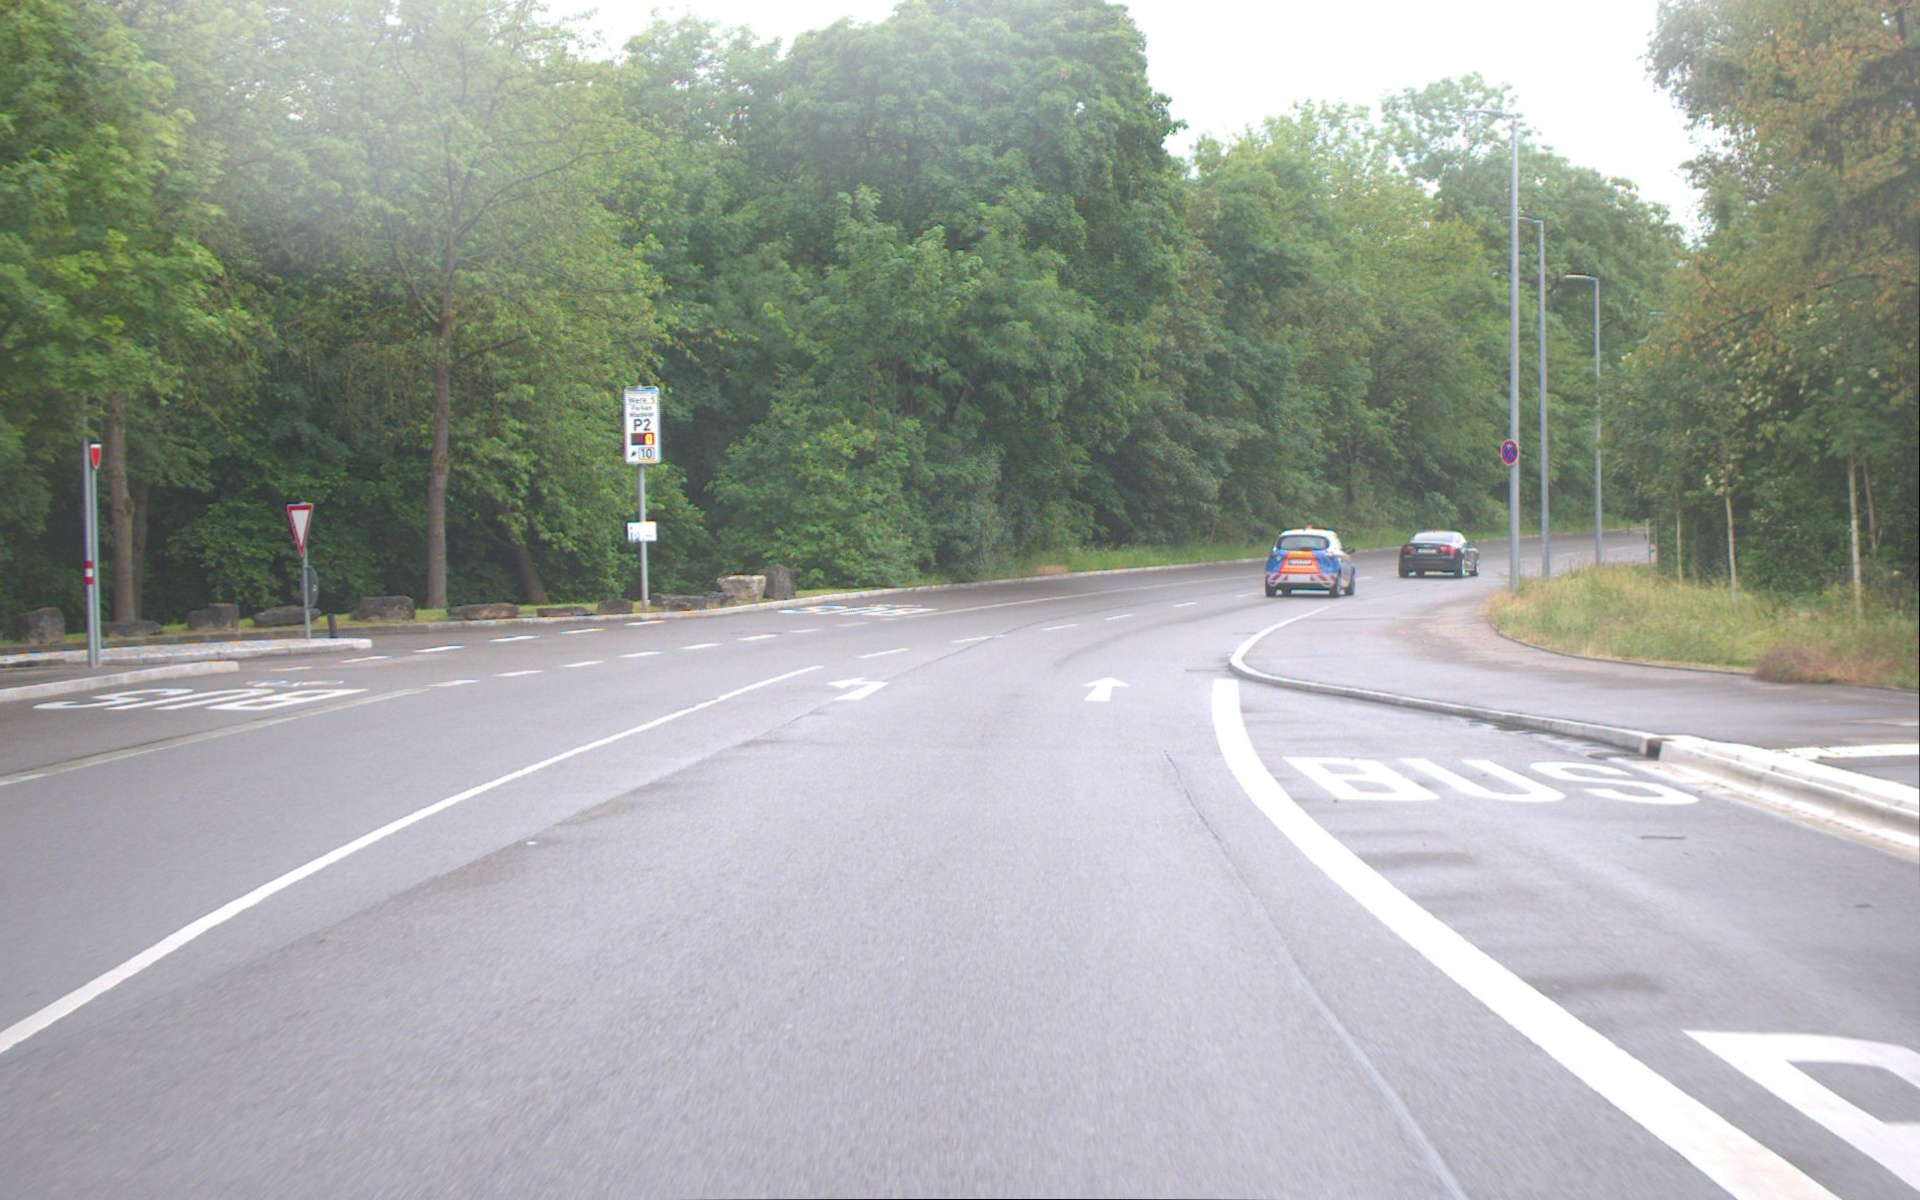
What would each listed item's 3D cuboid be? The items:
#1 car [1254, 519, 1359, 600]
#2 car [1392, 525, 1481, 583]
[{"bbox_3d":[8.137,-0.964,80.553,1.994,1.683,3.999,-1,3,12],"label":"car"},{"bbox_3d":[13.943,-1.353,100.434,1.929,1.481,3.797,-1,3,18],"label":"car"}]
